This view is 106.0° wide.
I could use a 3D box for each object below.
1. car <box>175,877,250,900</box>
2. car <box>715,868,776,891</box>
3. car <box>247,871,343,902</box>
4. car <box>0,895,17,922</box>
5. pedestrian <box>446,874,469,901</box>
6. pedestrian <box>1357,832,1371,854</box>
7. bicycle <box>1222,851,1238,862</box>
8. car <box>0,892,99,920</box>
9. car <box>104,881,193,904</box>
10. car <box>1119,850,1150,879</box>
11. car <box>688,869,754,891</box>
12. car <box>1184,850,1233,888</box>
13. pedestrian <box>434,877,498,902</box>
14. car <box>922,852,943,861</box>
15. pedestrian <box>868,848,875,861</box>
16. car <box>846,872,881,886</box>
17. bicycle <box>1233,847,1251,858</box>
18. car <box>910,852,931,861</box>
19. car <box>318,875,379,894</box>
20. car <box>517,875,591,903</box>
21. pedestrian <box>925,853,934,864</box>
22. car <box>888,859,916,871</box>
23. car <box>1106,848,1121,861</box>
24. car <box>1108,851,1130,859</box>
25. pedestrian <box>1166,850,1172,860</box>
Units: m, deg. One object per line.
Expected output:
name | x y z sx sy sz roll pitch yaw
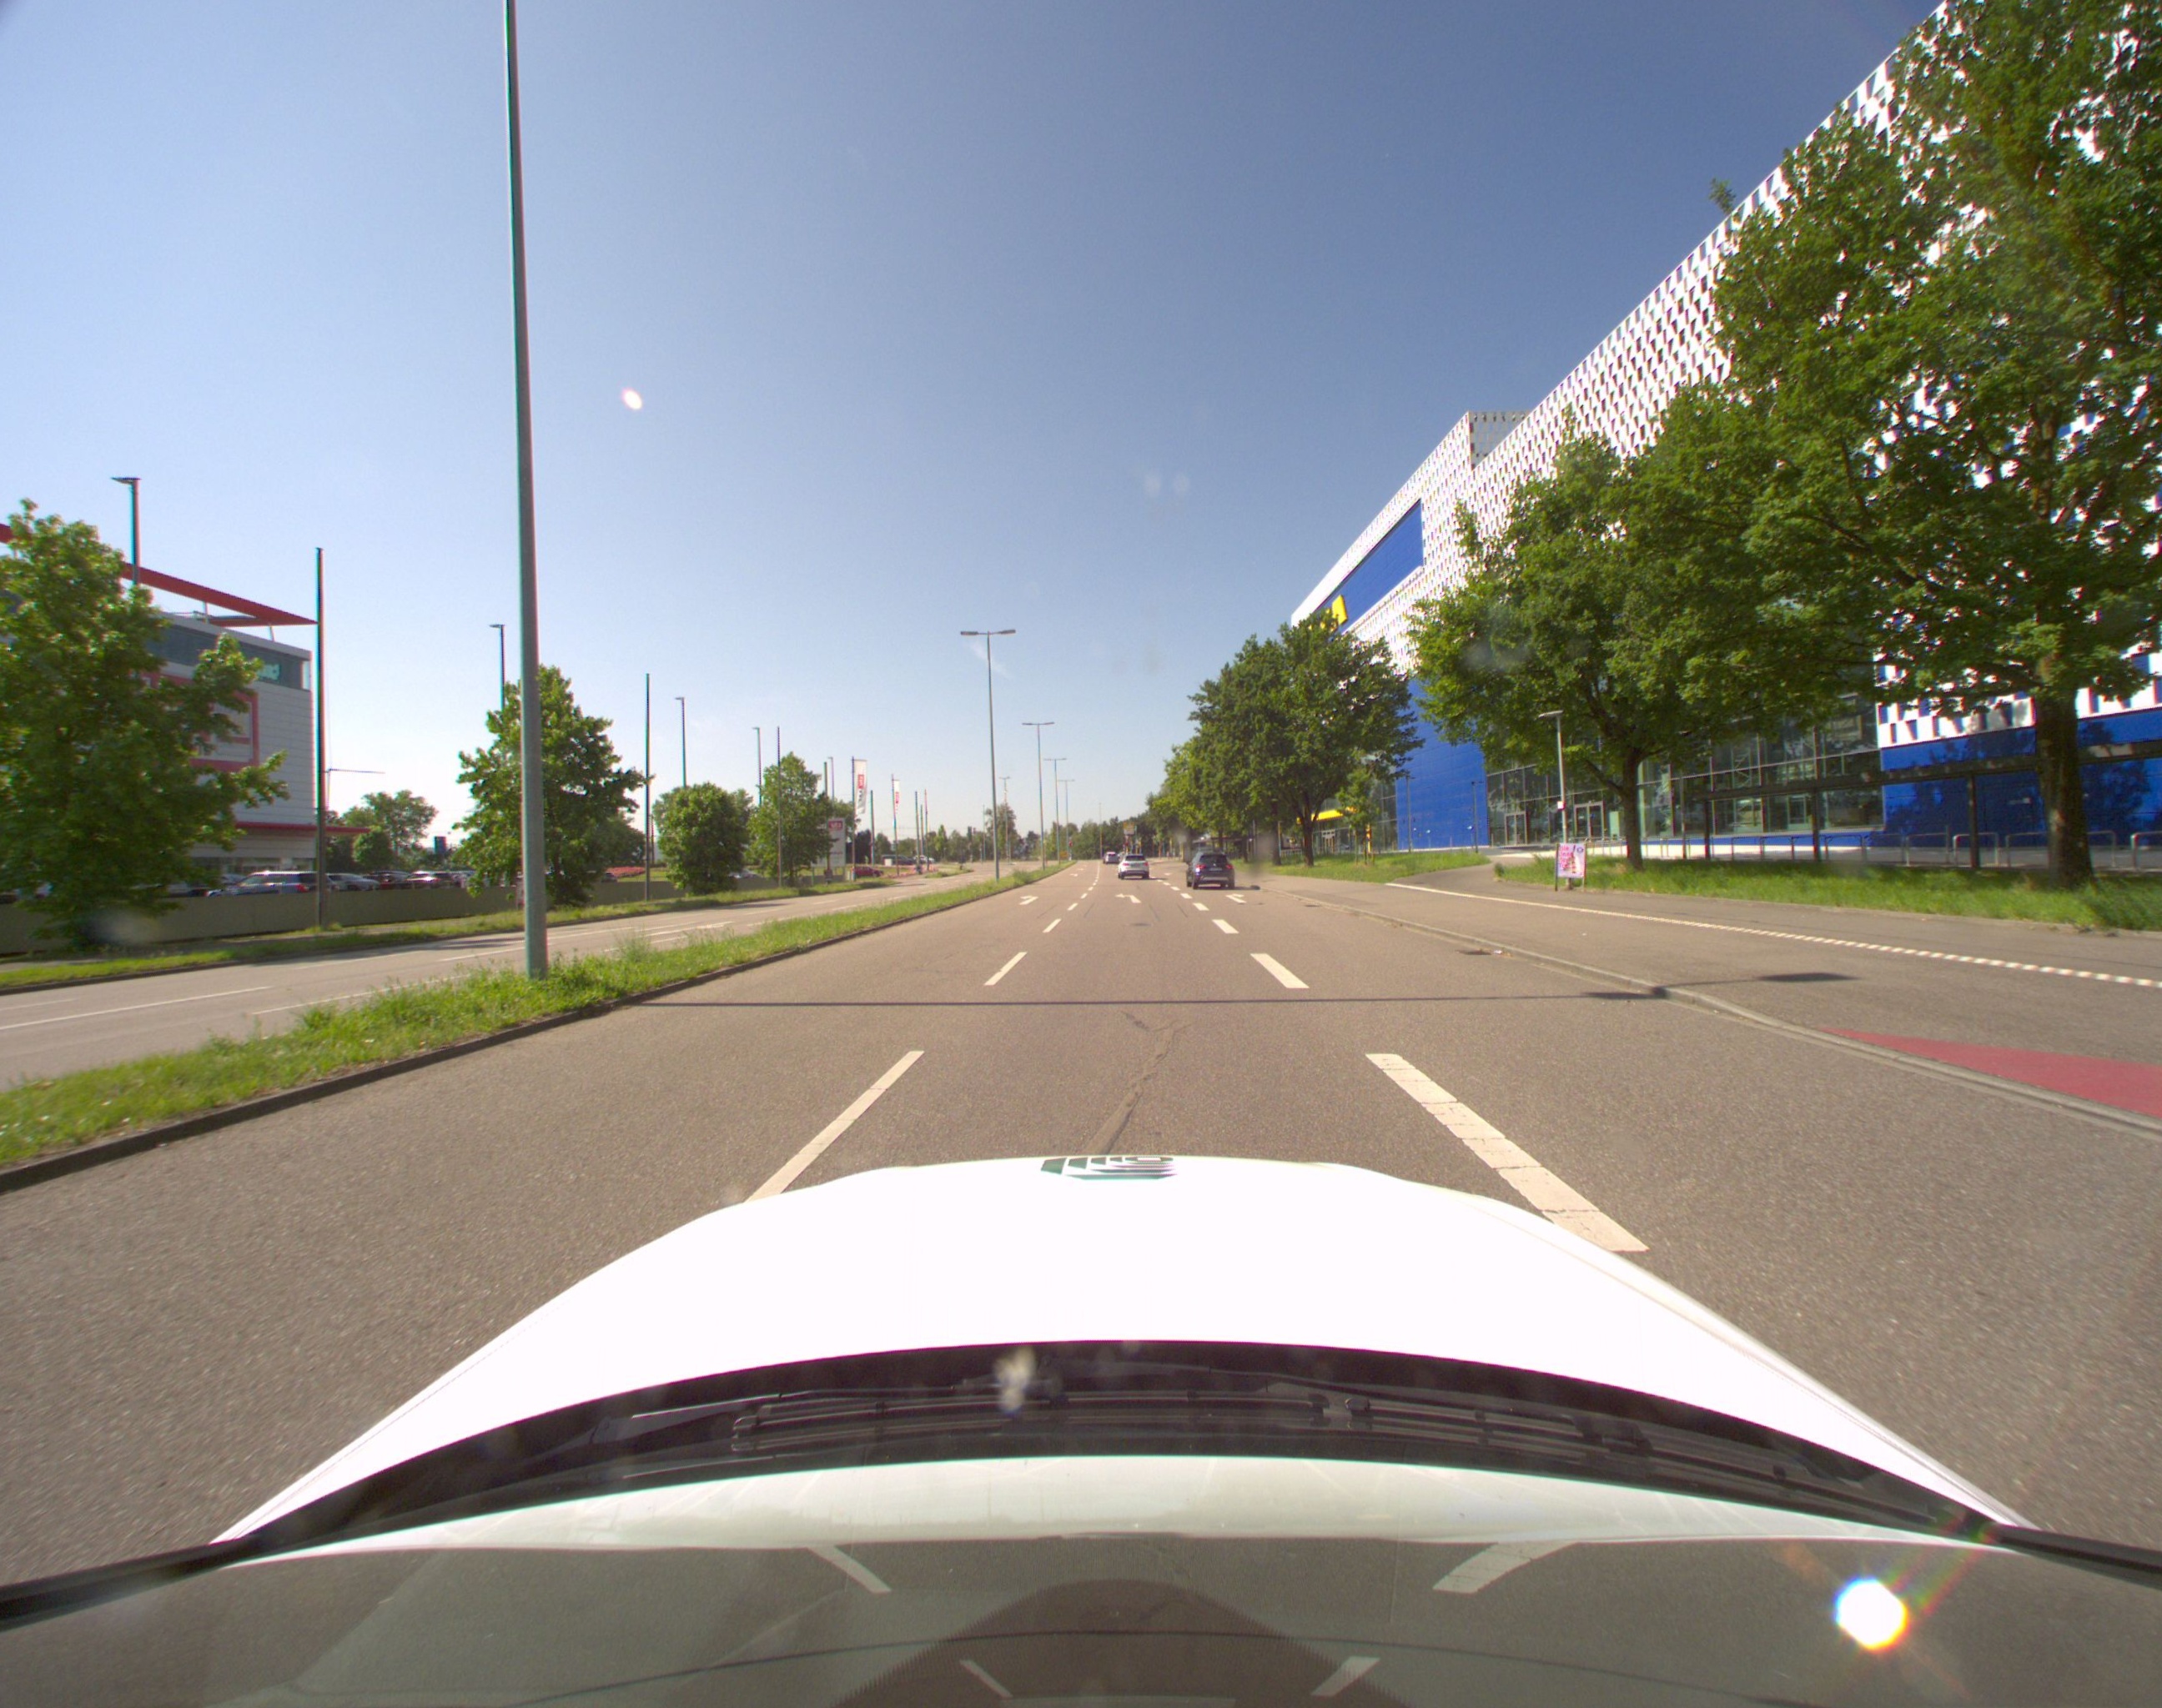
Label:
car | -54.818 2.155 51.420 3.078 1.330 1.515 -2 -1 -1
car | -29.065 2.209 70.708 4.398 1.842 1.945 -2 -1 0
car | -29.620 1.222 30.713 2.506 1.059 1.070 -2 -1 -2
car | -55.740 2.795 40.716 3.078 1.330 1.515 -2 -1 -1
pedestrian | -49.614 2.674 64.816 0.855 2.013 1.026 -3 0 15
pedestrian | 21.074 -0.814 60.575 0.686 1.612 0.771 -3 0 -3
bicycle | 17.349 0.283 94.989 1.752 1.096 0.452 -3 0 0
car | -55.260 2.778 43.660 3.078 1.330 1.703 -2 -1 0
car | -55.241 2.256 48.288 3.488 1.199 1.480 -2 -1 -1
car | 3.248 0.603 49.796 1.626 1.498 3.870 -1 2 0
car | -29.043 2.105 65.832 4.400 1.627 1.870 -2 -2 -2
car | 5.340 0.600 34.459 1.663 1.523 3.378 -1 0 2
pedestrian | -54.858 3.179 72.700 1.974 2.014 4.025 -3 -1 32
car | -26.074 0.462 142.994 3.336 1.500 1.408 -2 -1 -3
pedestrian | -32.359 0.066 125.974 0.712 1.972 0.919 -2 -1 5
car | -28.731 3.272 107.682 4.175 1.605 1.824 -2 -1 -4
bicycle | 17.539 -0.159 88.690 1.752 1.096 0.452 -3 0 0
car | -27.413 0.451 139.015 3.376 1.500 1.409 -2 -1 -1
car | -54.504 2.255 60.627 3.078 1.330 1.515 -2 -1 -1
car | -43.958 2.907 68.035 4.658 2.013 2.028 -3 0 -3
pedestrian | -23.045 0.678 123.845 0.834 1.707 0.909 -3 0 13
car | -28.985 1.783 131.960 3.952 1.925 1.826 0 1 22
car | 4.257 0.084 107.992 1.701 1.573 4.173 -3 0 0
car | 7.478 0.161 161.137 4.074 1.547 1.793 -2 0 -11
pedestrian | 14.484 0.182 133.974 0.767 1.510 1.011 -2 1 12
